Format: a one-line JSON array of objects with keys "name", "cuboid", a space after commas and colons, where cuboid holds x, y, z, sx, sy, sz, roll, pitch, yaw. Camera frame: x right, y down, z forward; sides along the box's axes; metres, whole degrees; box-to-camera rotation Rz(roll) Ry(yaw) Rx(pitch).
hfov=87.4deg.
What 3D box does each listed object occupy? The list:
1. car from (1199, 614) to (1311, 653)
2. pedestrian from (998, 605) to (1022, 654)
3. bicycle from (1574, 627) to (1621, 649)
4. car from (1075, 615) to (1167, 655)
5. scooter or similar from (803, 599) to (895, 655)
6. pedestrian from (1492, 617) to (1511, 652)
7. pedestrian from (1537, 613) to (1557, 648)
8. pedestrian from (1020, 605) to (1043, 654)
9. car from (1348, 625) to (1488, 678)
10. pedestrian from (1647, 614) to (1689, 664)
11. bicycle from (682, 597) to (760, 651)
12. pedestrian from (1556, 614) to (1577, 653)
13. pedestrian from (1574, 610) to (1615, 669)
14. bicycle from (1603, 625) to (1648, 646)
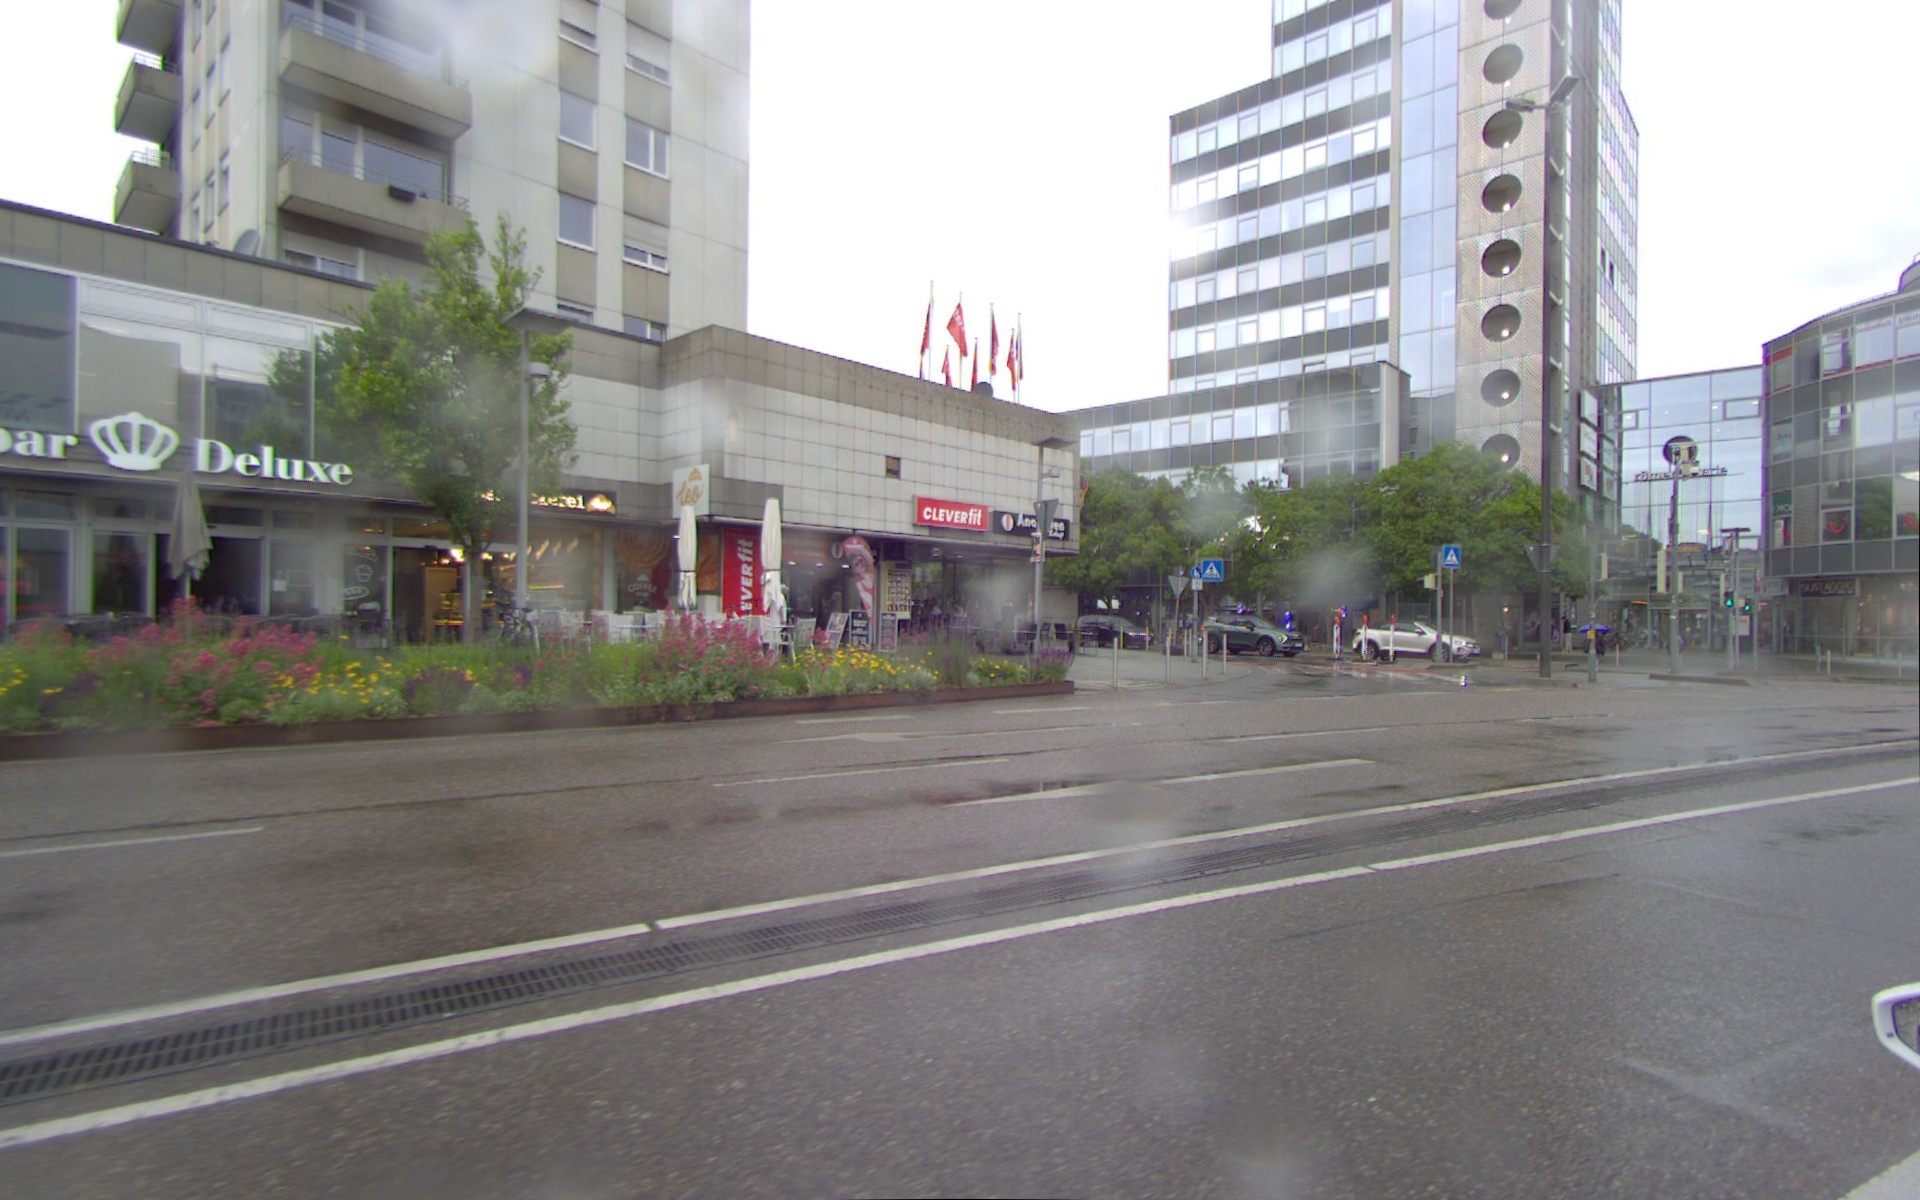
[{"name": "car", "cuboid": [11.987, 1.319, 40.980, 1.855, 1.439, 4.010, 1, 0, -41]}, {"name": "pedestrian", "cuboid": [1.409, 0.827, 28.228, 0.528, 1.365, 0.496, 2, 0, -13]}, {"name": "bicycle", "cuboid": [37.066, 2.209, 58.416, 2.247, 1.263, 0.673, 0, -1, 41]}, {"name": "car", "cuboid": [7.443, 1.585, 46.731, 1.855, 1.617, 3.952, 0, 2, -41]}, {"name": "scooter or similar", "cuboid": [-2.562, 0.588, 22.809, 0.638, 1.190, 2.559, 1, 0, -44]}, {"name": "pedestrian", "cuboid": [30.057, 1.918, 55.758, 0.738, 1.893, 0.834, 0, -1, 15]}, {"name": "pedestrian", "cuboid": [32.099, 1.669, 54.960, 0.821, 1.893, 0.749, 0, -1, 42]}, {"name": "pedestrian", "cuboid": [2.010, 0.833, 28.371, 0.527, 1.365, 0.496, 1, 0, -12]}, {"name": "car", "cuboid": [16.278, 1.782, 35.852, 1.855, 1.616, 4.156, 1, 0, -40]}, {"name": "pedestrian", "cuboid": [26.278, 1.452, 37.309, 1.007, 1.843, 0.845, 1, -1, -16]}, {"name": "bicycle", "cuboid": [-5.863, 0.550, 24.547, 0.691, 1.239, 2.521, 1, 0, -43]}, {"name": "pedestrian", "cuboid": [32.719, 1.798, 54.166, 0.757, 2.040, 0.707, 1, 0, -34]}, {"name": "pedestrian", "cuboid": [22.679, 1.404, 35.918, 1.147, 2.040, 1.324, 1, 0, 36]}, {"name": "bicycle", "cuboid": [40.850, 2.166, 61.691, 2.247, 1.263, 0.673, 0, -1, 41]}]
